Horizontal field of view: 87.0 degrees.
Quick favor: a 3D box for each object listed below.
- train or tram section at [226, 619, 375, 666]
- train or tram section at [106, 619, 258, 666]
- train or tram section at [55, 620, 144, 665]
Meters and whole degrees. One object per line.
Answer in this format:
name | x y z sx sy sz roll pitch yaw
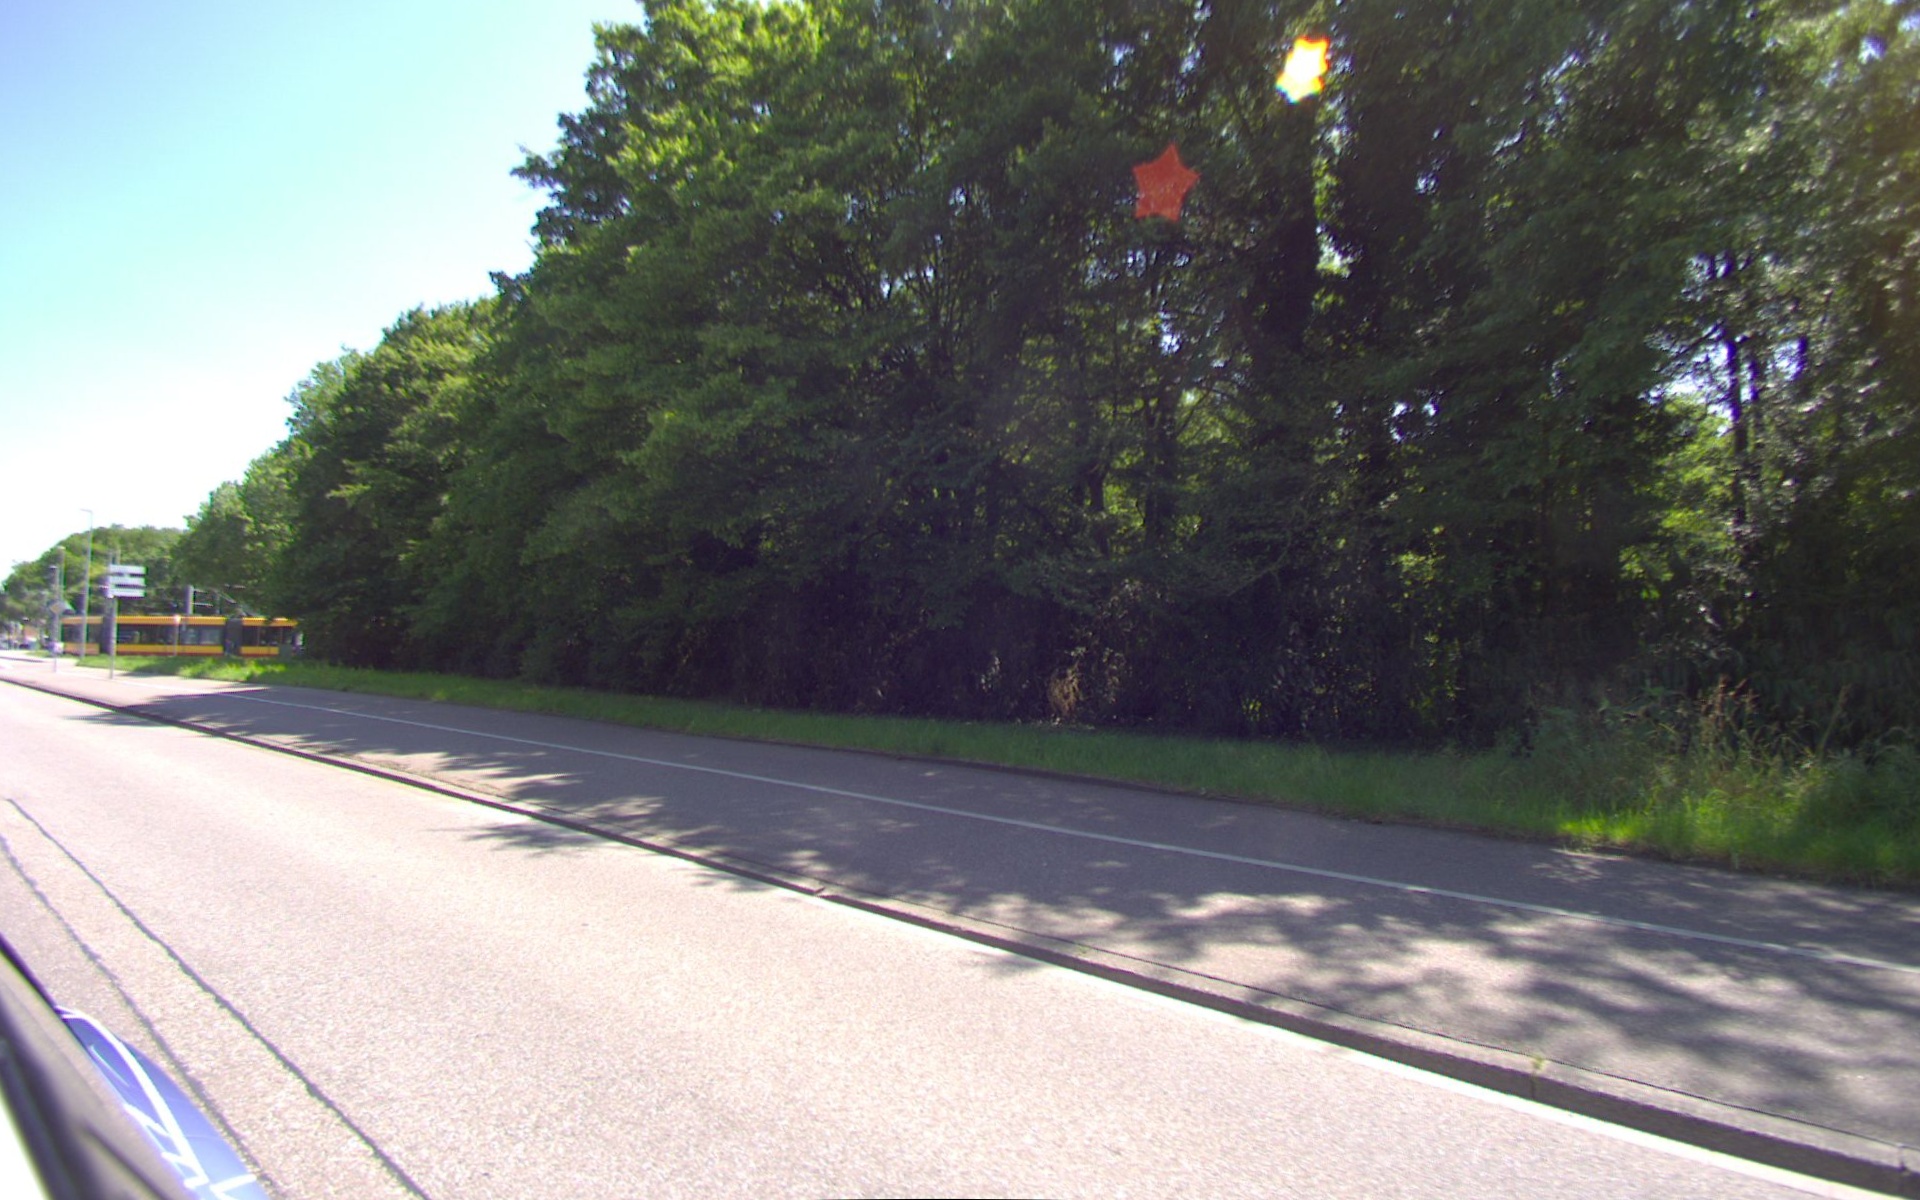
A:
train or tram section | -50.808 3.254 78.276 9.193 3.492 2.791 1 -3 -16
train or tram section | -59.800 3.265 77.867 10.732 3.492 2.643 0 -2 10
train or tram section | -69.447 3.448 81.564 10.825 3.493 2.549 -2 -3 34
